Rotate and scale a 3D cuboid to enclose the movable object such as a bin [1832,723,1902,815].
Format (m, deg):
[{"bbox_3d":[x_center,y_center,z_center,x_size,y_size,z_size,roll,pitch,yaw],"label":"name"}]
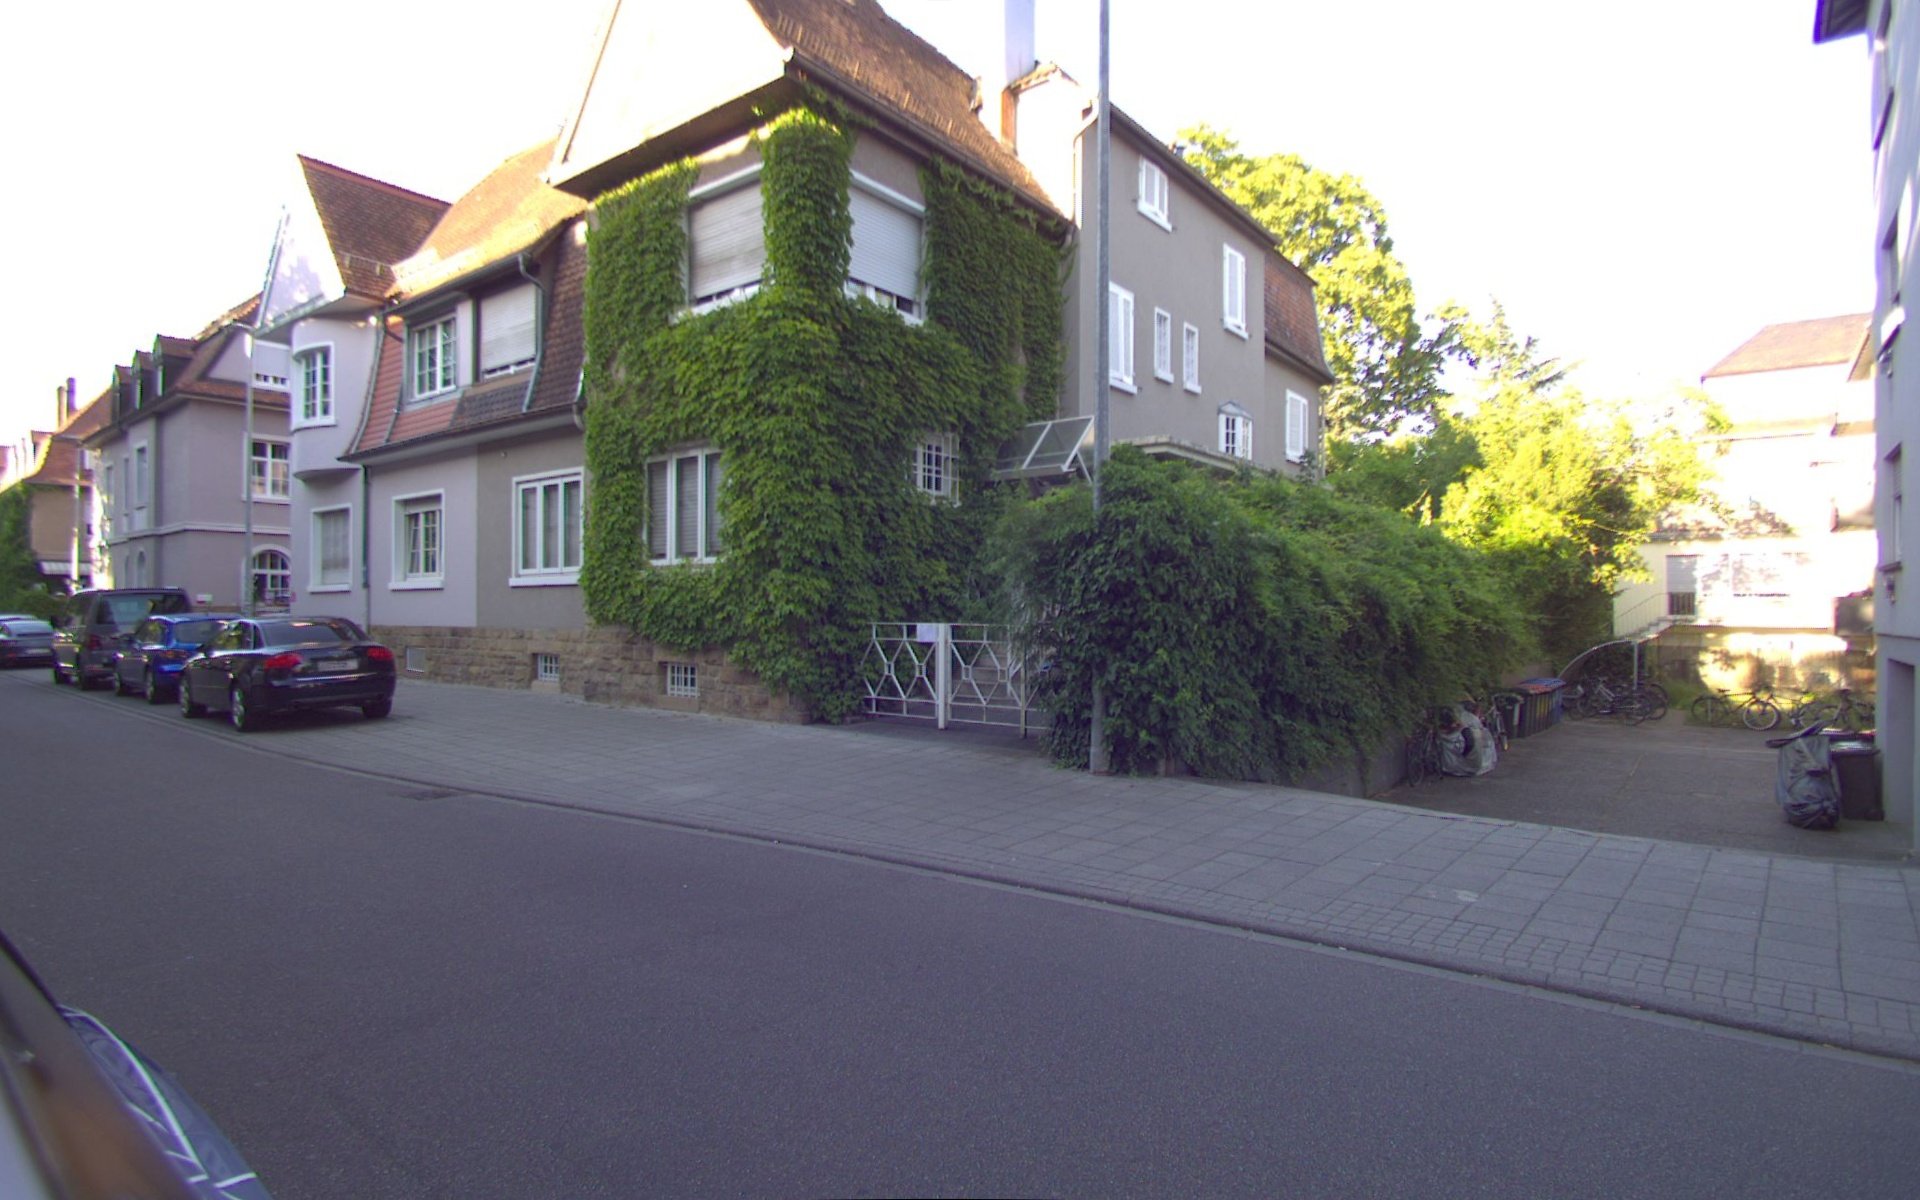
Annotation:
[{"bbox_3d":[12.293,2.271,13.734,0.611,1.123,0.792,-1,-4,37],"label":"movable object such as a bin"}]

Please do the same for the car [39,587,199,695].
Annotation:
[{"bbox_3d":[-17.532,0.786,21.020,4.610,1.990,1.819,-1,1,41],"label":"car"}]

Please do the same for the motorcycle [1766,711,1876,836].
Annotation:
[{"bbox_3d":[10.702,2.111,12.632,0.742,1.305,1.565,-1,-2,30],"label":"motorcycle"}]

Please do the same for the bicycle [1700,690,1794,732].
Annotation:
[{"bbox_3d":[18.887,2.657,24.308,1.754,0.886,0.558,-1,-4,42],"label":"bicycle"}]

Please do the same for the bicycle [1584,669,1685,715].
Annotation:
[{"bbox_3d":[19.193,2.592,28.837,2.338,1.186,0.685,-1,-4,42],"label":"bicycle"}]

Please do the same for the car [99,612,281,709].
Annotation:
[{"bbox_3d":[-13.643,0.980,17.850,4.060,1.457,1.745,-1,1,41],"label":"car"}]

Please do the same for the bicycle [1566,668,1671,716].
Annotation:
[{"bbox_3d":[18.051,2.499,27.775,2.338,1.186,0.685,-1,-4,42],"label":"bicycle"}]

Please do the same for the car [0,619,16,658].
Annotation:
[{"bbox_3d":[-36.332,1.437,37.511,3.676,1.372,1.641,-1,1,42],"label":"car"}]

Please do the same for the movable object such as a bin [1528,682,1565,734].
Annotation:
[{"bbox_3d":[13.171,2.408,22.723,0.611,1.123,0.792,-1,-4,37],"label":"movable object such as a bin"}]

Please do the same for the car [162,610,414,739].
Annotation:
[{"bbox_3d":[-9.422,0.910,14.041,4.426,1.457,1.783,-1,1,41],"label":"car"}]

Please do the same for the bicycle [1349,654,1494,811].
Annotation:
[{"bbox_3d":[6.818,1.780,14.759,0.971,1.907,4.138,-1,-2,38],"label":"bicycle"}]

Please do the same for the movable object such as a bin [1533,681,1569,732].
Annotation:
[{"bbox_3d":[13.642,2.441,23.355,0.611,1.123,0.792,-1,-4,37],"label":"movable object such as a bin"}]

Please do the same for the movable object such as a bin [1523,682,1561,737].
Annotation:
[{"bbox_3d":[12.695,2.373,22.081,0.611,1.123,0.792,-1,-4,37],"label":"movable object such as a bin"}]

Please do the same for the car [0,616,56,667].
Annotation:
[{"bbox_3d":[-30.180,1.294,32.034,4.061,1.478,1.907,-1,1,42],"label":"car"}]

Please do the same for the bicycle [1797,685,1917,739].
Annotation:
[{"bbox_3d":[20.364,2.532,23.034,2.005,1.080,0.558,-1,-4,42],"label":"bicycle"}]

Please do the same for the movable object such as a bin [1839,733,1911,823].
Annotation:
[{"bbox_3d":[11.711,2.266,12.973,0.611,1.045,0.532,-1,-4,37],"label":"movable object such as a bin"}]

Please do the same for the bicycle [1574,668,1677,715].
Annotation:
[{"bbox_3d":[18.609,2.549,28.343,2.338,1.186,0.685,-1,-4,42],"label":"bicycle"}]

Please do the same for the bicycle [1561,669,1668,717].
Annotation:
[{"bbox_3d":[17.500,2.469,27.122,2.338,1.142,0.685,-1,-4,42],"label":"bicycle"}]

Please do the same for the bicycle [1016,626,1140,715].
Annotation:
[{"bbox_3d":[1.696,0.949,14.191,0.476,1.111,2.172,-1,-1,45],"label":"bicycle"}]

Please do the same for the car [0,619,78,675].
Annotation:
[{"bbox_3d":[-26.166,1.264,28.301,4.063,1.394,1.906,-1,1,44],"label":"car"}]

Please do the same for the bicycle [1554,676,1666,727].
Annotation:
[{"bbox_3d":[16.234,2.514,25.309,2.294,1.142,0.685,-1,-4,42],"label":"bicycle"}]
